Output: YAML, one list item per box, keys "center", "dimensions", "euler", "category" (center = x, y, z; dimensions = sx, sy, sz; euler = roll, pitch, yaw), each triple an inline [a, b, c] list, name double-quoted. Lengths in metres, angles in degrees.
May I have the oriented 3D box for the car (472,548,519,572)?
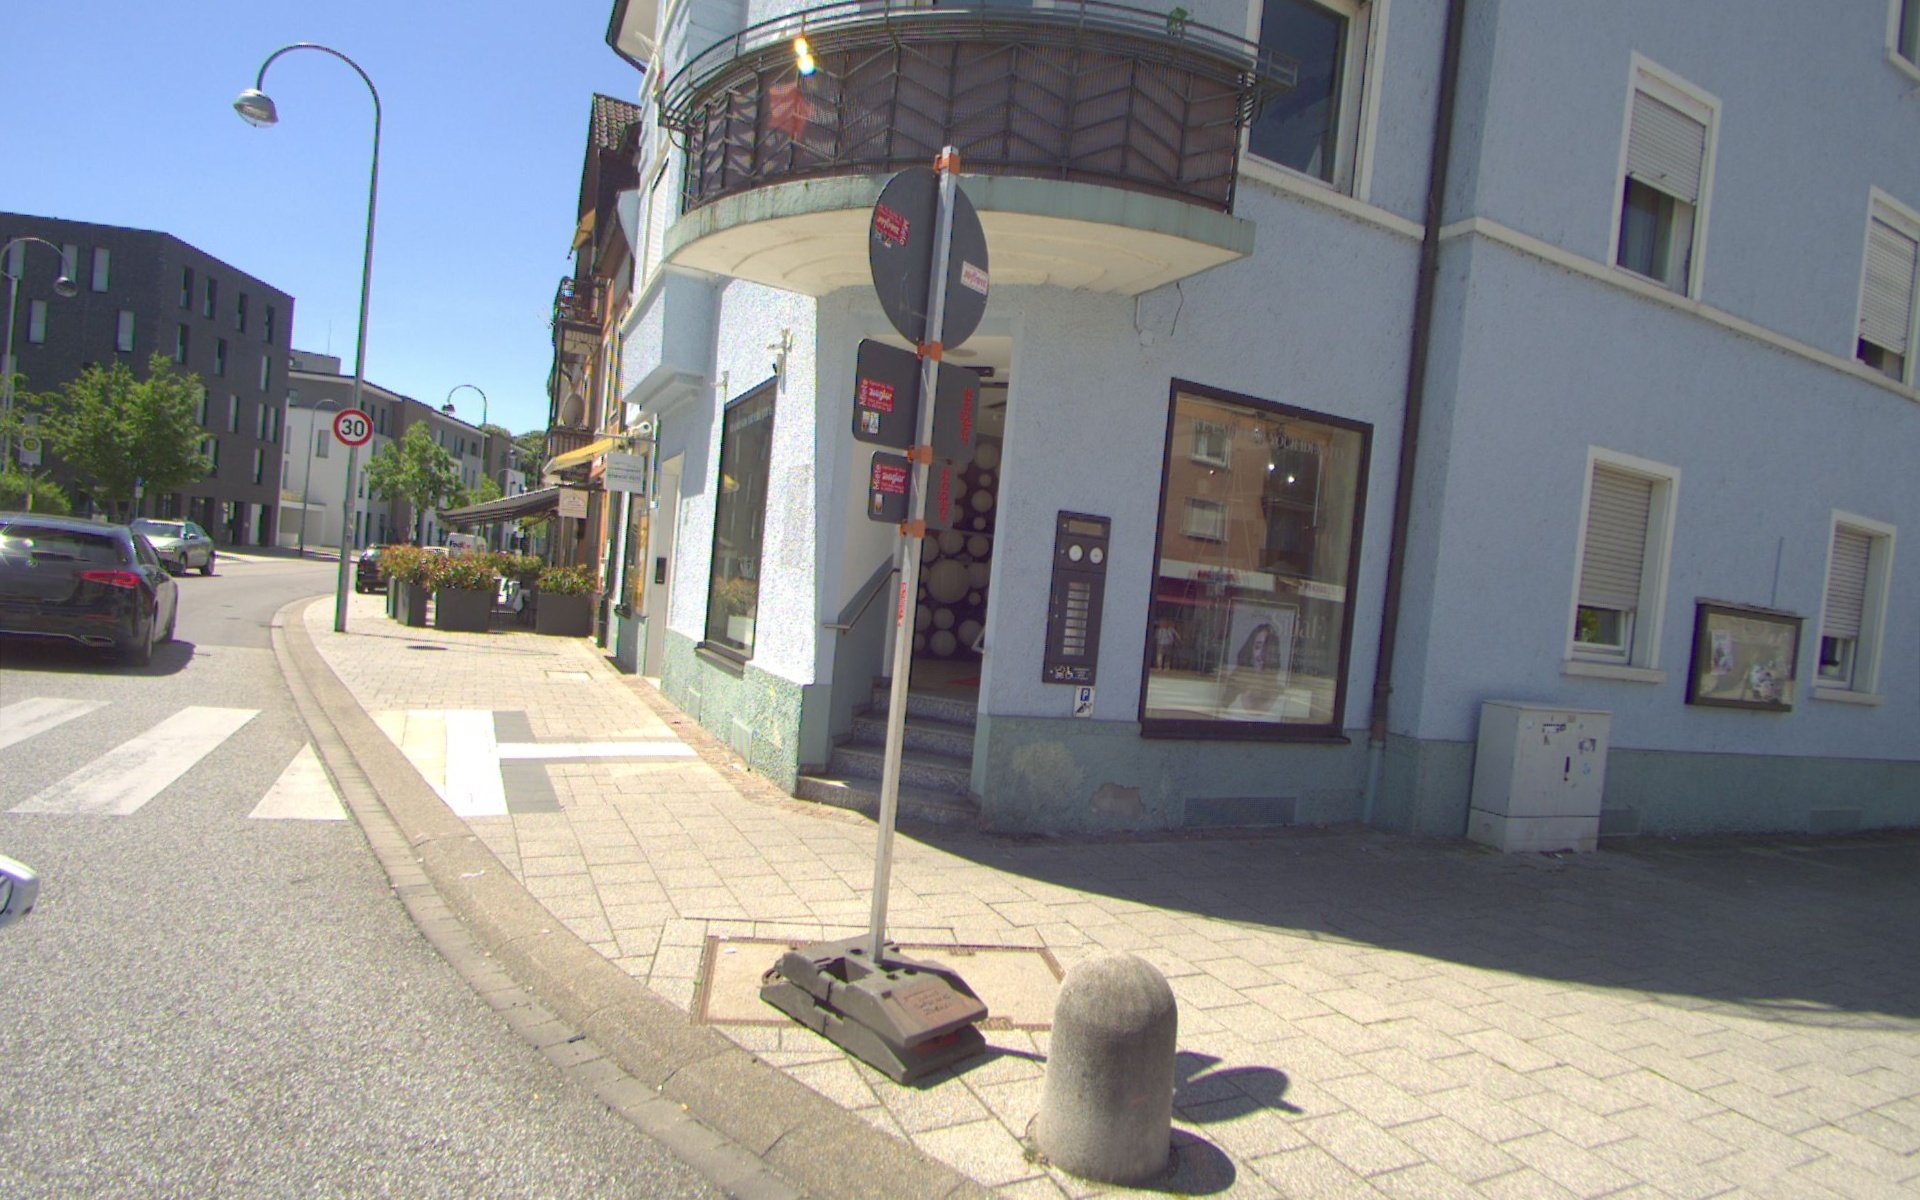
- center: [-48.549, -4.198, 105.210]
  dimensions: [3.927, 2.039, 1.999]
  euler: [6, 0, -4]
  category: "car"

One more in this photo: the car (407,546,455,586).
- center: [-22.589, -1.455, 43.067]
  dimensions: [1.589, 1.550, 3.470]
  euler: [4, 1, -25]
  category: "car"

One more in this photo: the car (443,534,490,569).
- center: [-33.935, -3.293, 69.289]
  dimensions: [1.968, 2.039, 3.988]
  euler: [6, 0, -14]
  category: "car"

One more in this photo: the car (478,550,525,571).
- center: [-48.887, -4.222, 107.298]
  dimensions: [3.928, 1.683, 1.998]
  euler: [6, 0, -5]
  category: "car"

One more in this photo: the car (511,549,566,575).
- center: [-52.696, -4.736, 125.888]
  dimensions: [5.557, 2.611, 2.514]
  euler: [6, 0, -3]
  category: "car"

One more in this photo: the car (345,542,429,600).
- center: [-17.503, -0.910, 30.886]
  dimensions: [1.732, 1.505, 3.977]
  euler: [5, 0, -24]
  category: "car"

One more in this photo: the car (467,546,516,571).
- center: [-47.906, -4.201, 102.866]
  dimensions: [3.927, 2.039, 1.999]
  euler: [6, 0, -4]
  category: "car"

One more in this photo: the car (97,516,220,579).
- center: [-23.165, -1.488, 29.248]
  dimensions: [1.656, 1.563, 4.062]
  euler: [3, 1, -22]
  category: "car"

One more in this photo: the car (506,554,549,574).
- center: [-49.208, -4.085, 114.487]
  dimensions: [3.928, 1.683, 1.998]
  euler: [6, 0, -5]
  category: "car"

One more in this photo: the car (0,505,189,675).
- center: [-9.736, -0.215, 11.003]
  dimensions: [1.752, 1.475, 4.397]
  euler: [6, 0, -35]
  category: "car"
